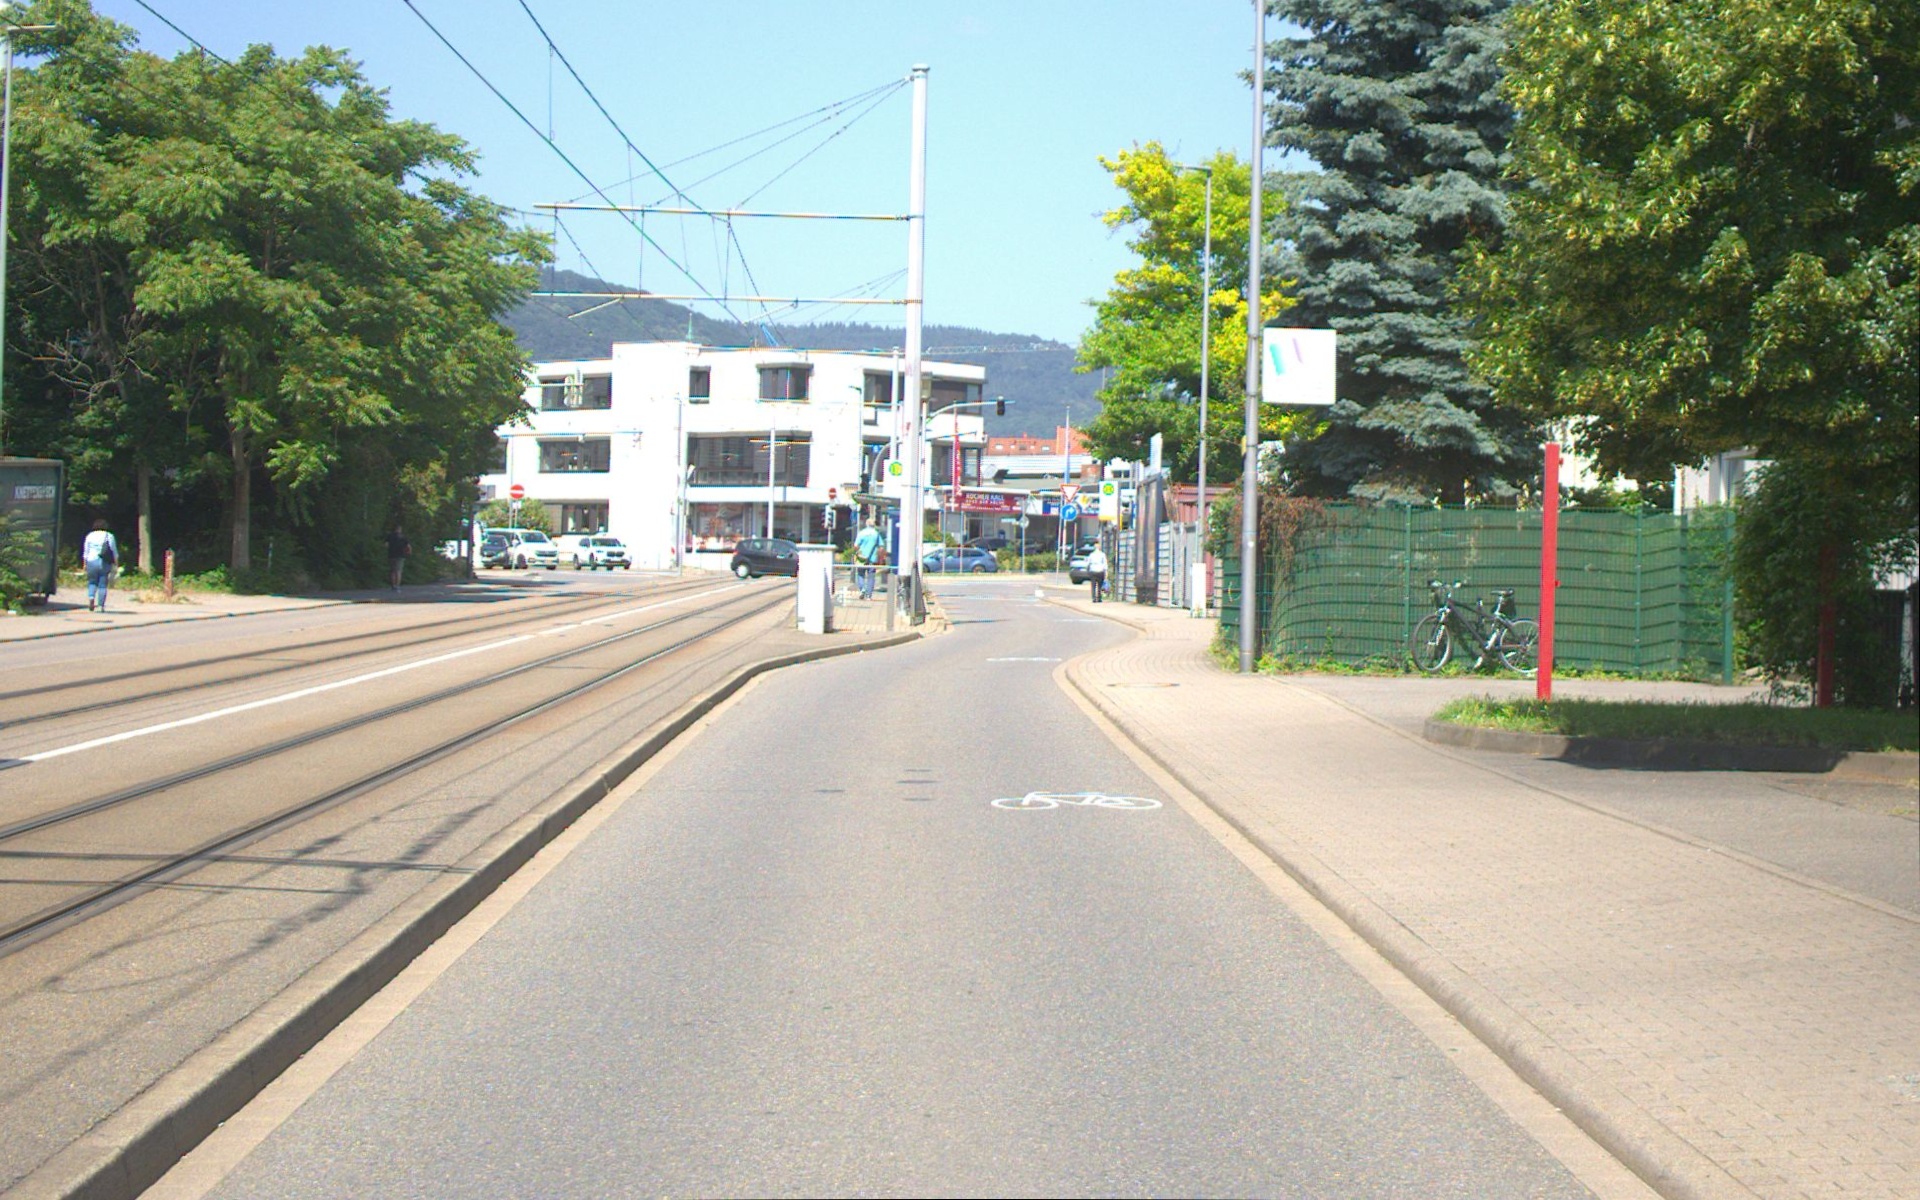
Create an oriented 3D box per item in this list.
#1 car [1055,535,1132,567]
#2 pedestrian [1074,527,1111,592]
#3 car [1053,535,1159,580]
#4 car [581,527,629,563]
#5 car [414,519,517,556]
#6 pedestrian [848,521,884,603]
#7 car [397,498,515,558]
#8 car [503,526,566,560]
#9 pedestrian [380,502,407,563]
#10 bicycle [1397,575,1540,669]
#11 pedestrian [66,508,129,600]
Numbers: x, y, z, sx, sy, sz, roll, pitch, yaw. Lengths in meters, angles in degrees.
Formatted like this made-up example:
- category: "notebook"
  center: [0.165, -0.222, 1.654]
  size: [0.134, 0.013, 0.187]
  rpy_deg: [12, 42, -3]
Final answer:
- category: "car"
  center: [7.053, -2.585, 181.497]
  size: [1.864, 1.656, 3.989]
  rpy_deg: [2, 1, 45]
- category: "pedestrian"
  center: [3.731, -1.145, 96.778]
  size: [0.940, 1.781, 0.953]
  rpy_deg: [2, 2, -1]
- category: "car"
  center: [5.951, -1.728, 139.966]
  size: [3.987, 1.744, 1.776]
  rpy_deg: [1, 1, -31]
- category: "car"
  center: [-16.640, -2.594, 161.107]
  size: [1.755, 1.642, 3.763]
  rpy_deg: [0, 1, -13]
- category: "car"
  center: [-21.145, -2.691, 146.974]
  size: [3.992, 1.546, 1.790]
  rpy_deg: [1, 1, 25]
- category: "pedestrian"
  center: [-2.006, -0.820, 73.591]
  size: [0.743, 1.734, 0.727]
  rpy_deg: [1, 1, -1]
- category: "car"
  center: [-17.553, -2.504, 119.974]
  size: [1.863, 1.930, 3.993]
  rpy_deg: [4, 2, 32]
- category: "car"
  center: [-20.888, -2.801, 168.791]
  size: [1.926, 1.642, 3.762]
  rpy_deg: [0, 1, -27]
- category: "pedestrian"
  center: [-14.179, -1.692, 86.054]
  size: [0.584, 1.532, 0.657]
  rpy_deg: [1, 1, -1]
- category: "bicycle"
  center: [5.492, 0.240, 37.153]
  size: [1.471, 0.987, 0.388]
  rpy_deg: [1, -2, -1]
- category: "pedestrian"
  center: [-14.460, -0.775, 57.646]
  size: [0.834, 1.532, 0.838]
  rpy_deg: [1, 1, -1]
